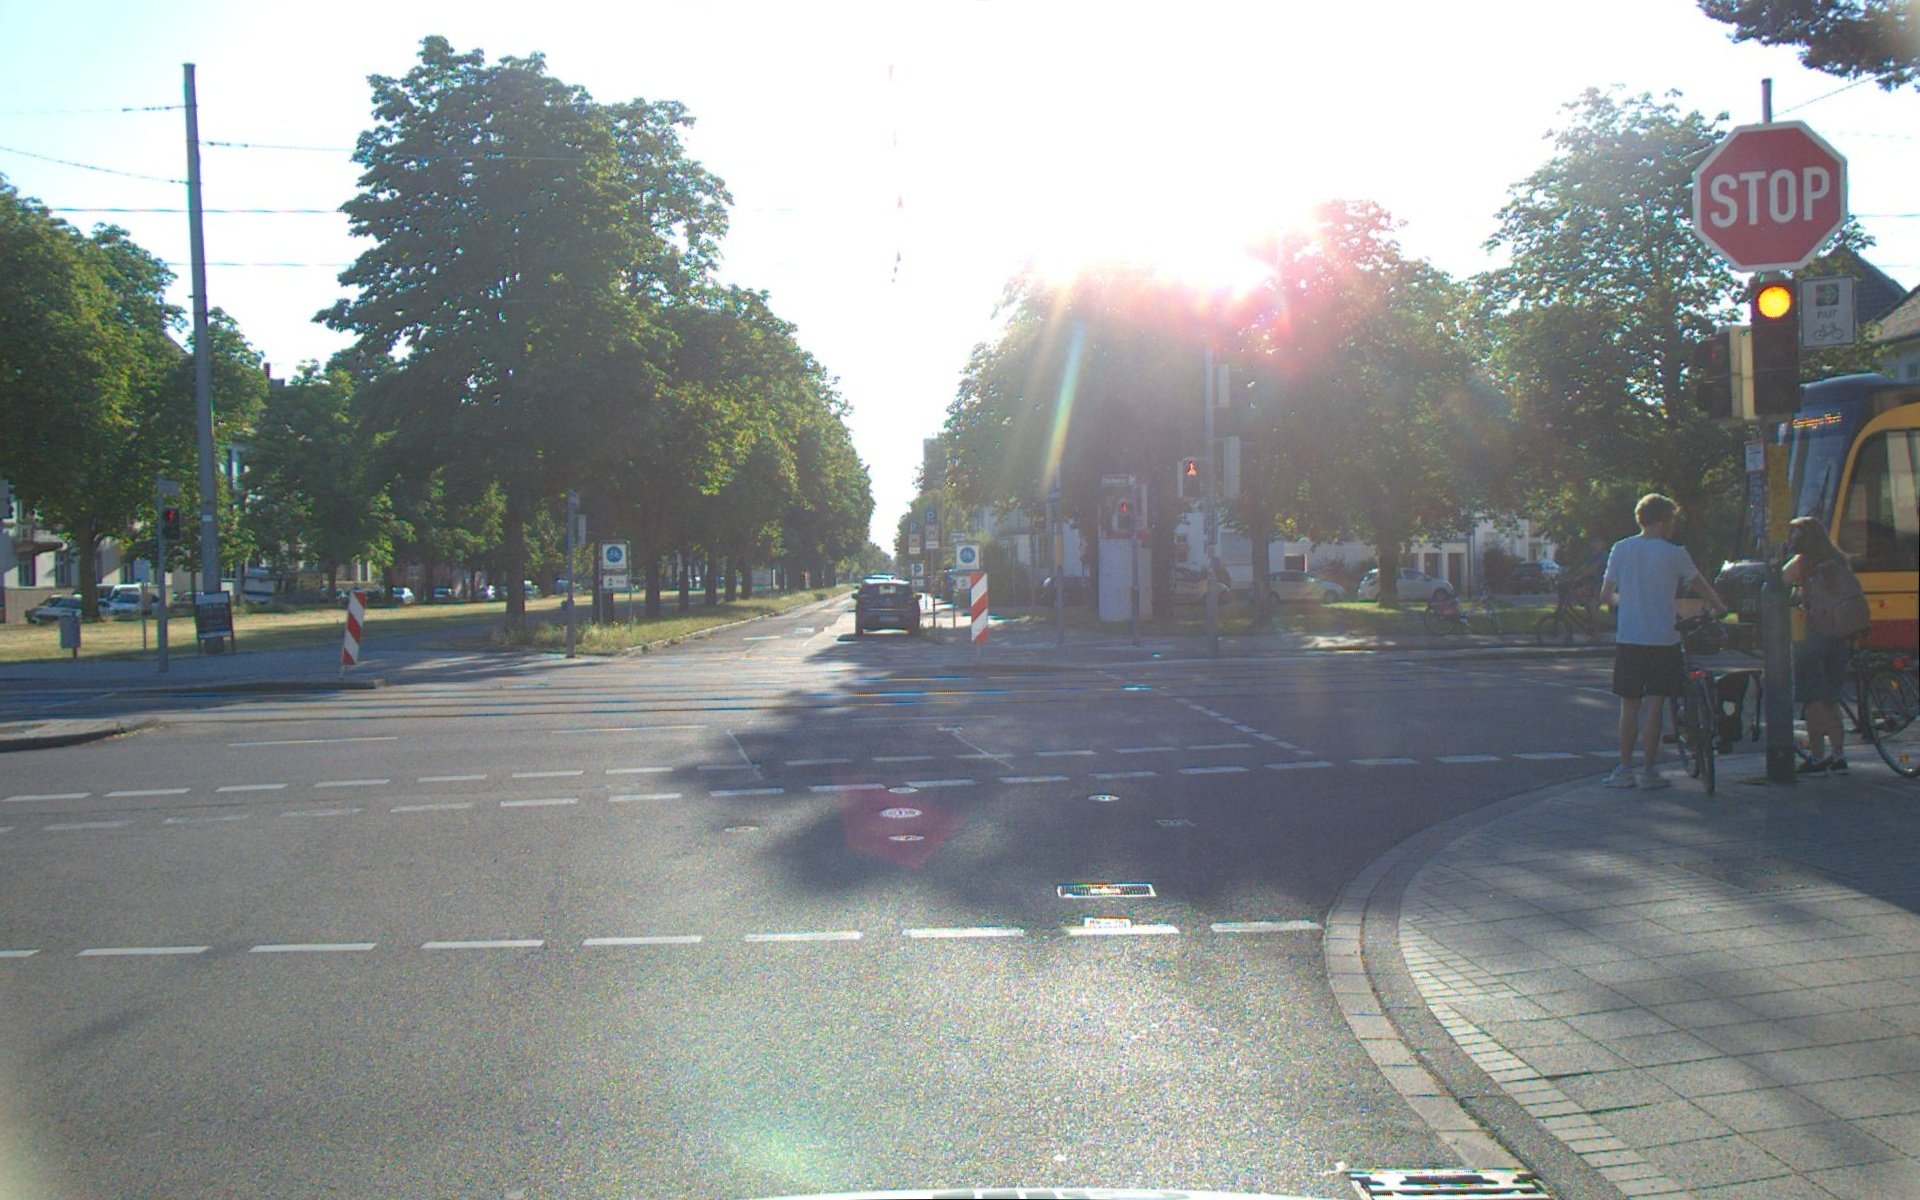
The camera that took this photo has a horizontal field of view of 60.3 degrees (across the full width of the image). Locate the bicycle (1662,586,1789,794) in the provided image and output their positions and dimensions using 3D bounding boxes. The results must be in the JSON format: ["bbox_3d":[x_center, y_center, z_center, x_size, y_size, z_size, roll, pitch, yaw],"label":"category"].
[{"bbox_3d":[4.915,0.521,10.703,0.560,1.204,1.906,1,1,20],"label":"bicycle"}]

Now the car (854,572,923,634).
[{"bbox_3d":[-1.876,0.088,44.515,1.690,1.537,4.539,1,0,-1],"label":"car"}]

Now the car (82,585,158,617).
[{"bbox_3d":[-46.803,0.051,92.256,1.953,1.688,4.569,1,0,-1],"label":"car"}]

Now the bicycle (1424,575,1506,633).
[{"bbox_3d":[10.071,0.078,33.002,1.489,1.108,0.468,-1,3,7],"label":"bicycle"}]

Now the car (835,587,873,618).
[{"bbox_3d":[-4.977,0.130,78.141,1.675,1.383,4.201,1,0,-2],"label":"car"}]

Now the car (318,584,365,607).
[{"bbox_3d":[-47.049,-0.337,125.978,1.953,1.688,4.373,1,0,-1],"label":"car"}]

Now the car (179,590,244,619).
[{"bbox_3d":[-46.123,0.280,101.962,1.953,1.688,4.569,1,0,-1],"label":"car"}]

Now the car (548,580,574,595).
[{"bbox_3d":[-44.973,-1.429,186.458,1.954,1.688,4.568,-1,1,-3],"label":"car"}]

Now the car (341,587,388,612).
[{"bbox_3d":[-41.746,-0.037,115.986,1.841,1.703,4.313,1,0,-2],"label":"car"}]

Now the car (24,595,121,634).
[{"bbox_3d":[-40.150,0.657,74.937,1.953,1.688,4.569,1,0,-1],"label":"car"}]

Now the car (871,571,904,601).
[{"bbox_3d":[-4.571,-0.888,103.667,1.954,1.812,3.998,1,1,-3],"label":"car"}]

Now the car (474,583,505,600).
[{"bbox_3d":[-48.884,-0.898,171.962,1.953,1.688,4.354,1,0,-1],"label":"car"}]

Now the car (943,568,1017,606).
[{"bbox_3d":[1.114,-0.721,93.597,3.911,1.854,1.757,-2,-5,-7],"label":"car"}]

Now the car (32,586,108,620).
[{"bbox_3d":[-45.893,0.169,85.371,1.681,1.661,4.190,1,0,-1],"label":"car"}]

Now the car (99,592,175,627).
[{"bbox_3d":[-40.244,0.442,81.013,1.760,1.581,4.416,1,1,-4],"label":"car"}]

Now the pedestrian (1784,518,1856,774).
[{"bbox_3d":[5.564,0.288,10.714,0.342,1.613,0.462,1,-1,20],"label":"pedestrian"}]

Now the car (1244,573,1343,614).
[{"bbox_3d":[13.203,-0.245,65.526,3.487,1.542,1.602,-1,0,-8],"label":"car"}]

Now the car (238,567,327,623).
[{"bbox_3d":[-41.073,-0.339,100.499,2.344,3.185,7.850,1,1,-2],"label":"car"}]

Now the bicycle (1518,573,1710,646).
[{"bbox_3d":[11.508,0.175,29.213,3.008,1.182,0.876,-2,0,12],"label":"bicycle"}]

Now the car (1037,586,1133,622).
[{"bbox_3d":[5.334,0.161,70.739,3.907,1.472,1.715,-1,0,-3],"label":"car"}]

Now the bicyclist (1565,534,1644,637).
[{"bbox_3d":[11.380,-0.250,29.239,1.120,1.753,0.876,-2,0,12],"label":"bicyclist"}]

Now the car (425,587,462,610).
[{"bbox_3d":[-42.492,-0.134,136.154,1.775,1.812,4.121,1,0,-2],"label":"car"}]

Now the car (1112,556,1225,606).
[{"bbox_3d":[8.237,-0.739,65.641,4.157,1.908,2.029,-1,0,-3],"label":"car"}]

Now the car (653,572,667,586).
[{"bbox_3d":[-45.979,-3.162,253.157,1.621,1.972,3.565,1,-1,-3],"label":"car"}]

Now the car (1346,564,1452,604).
[{"bbox_3d":[17.564,-0.635,66.219,3.847,1.550,1.521,0,-1,-8],"label":"car"}]

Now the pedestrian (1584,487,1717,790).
[{"bbox_3d":[4.554,0.246,10.952,0.614,1.899,0.775,-4,0,18],"label":"pedestrian"}]

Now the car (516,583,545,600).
[{"bbox_3d":[-43.319,-0.821,166.883,1.982,1.688,3.982,1,0,-2],"label":"car"}]
